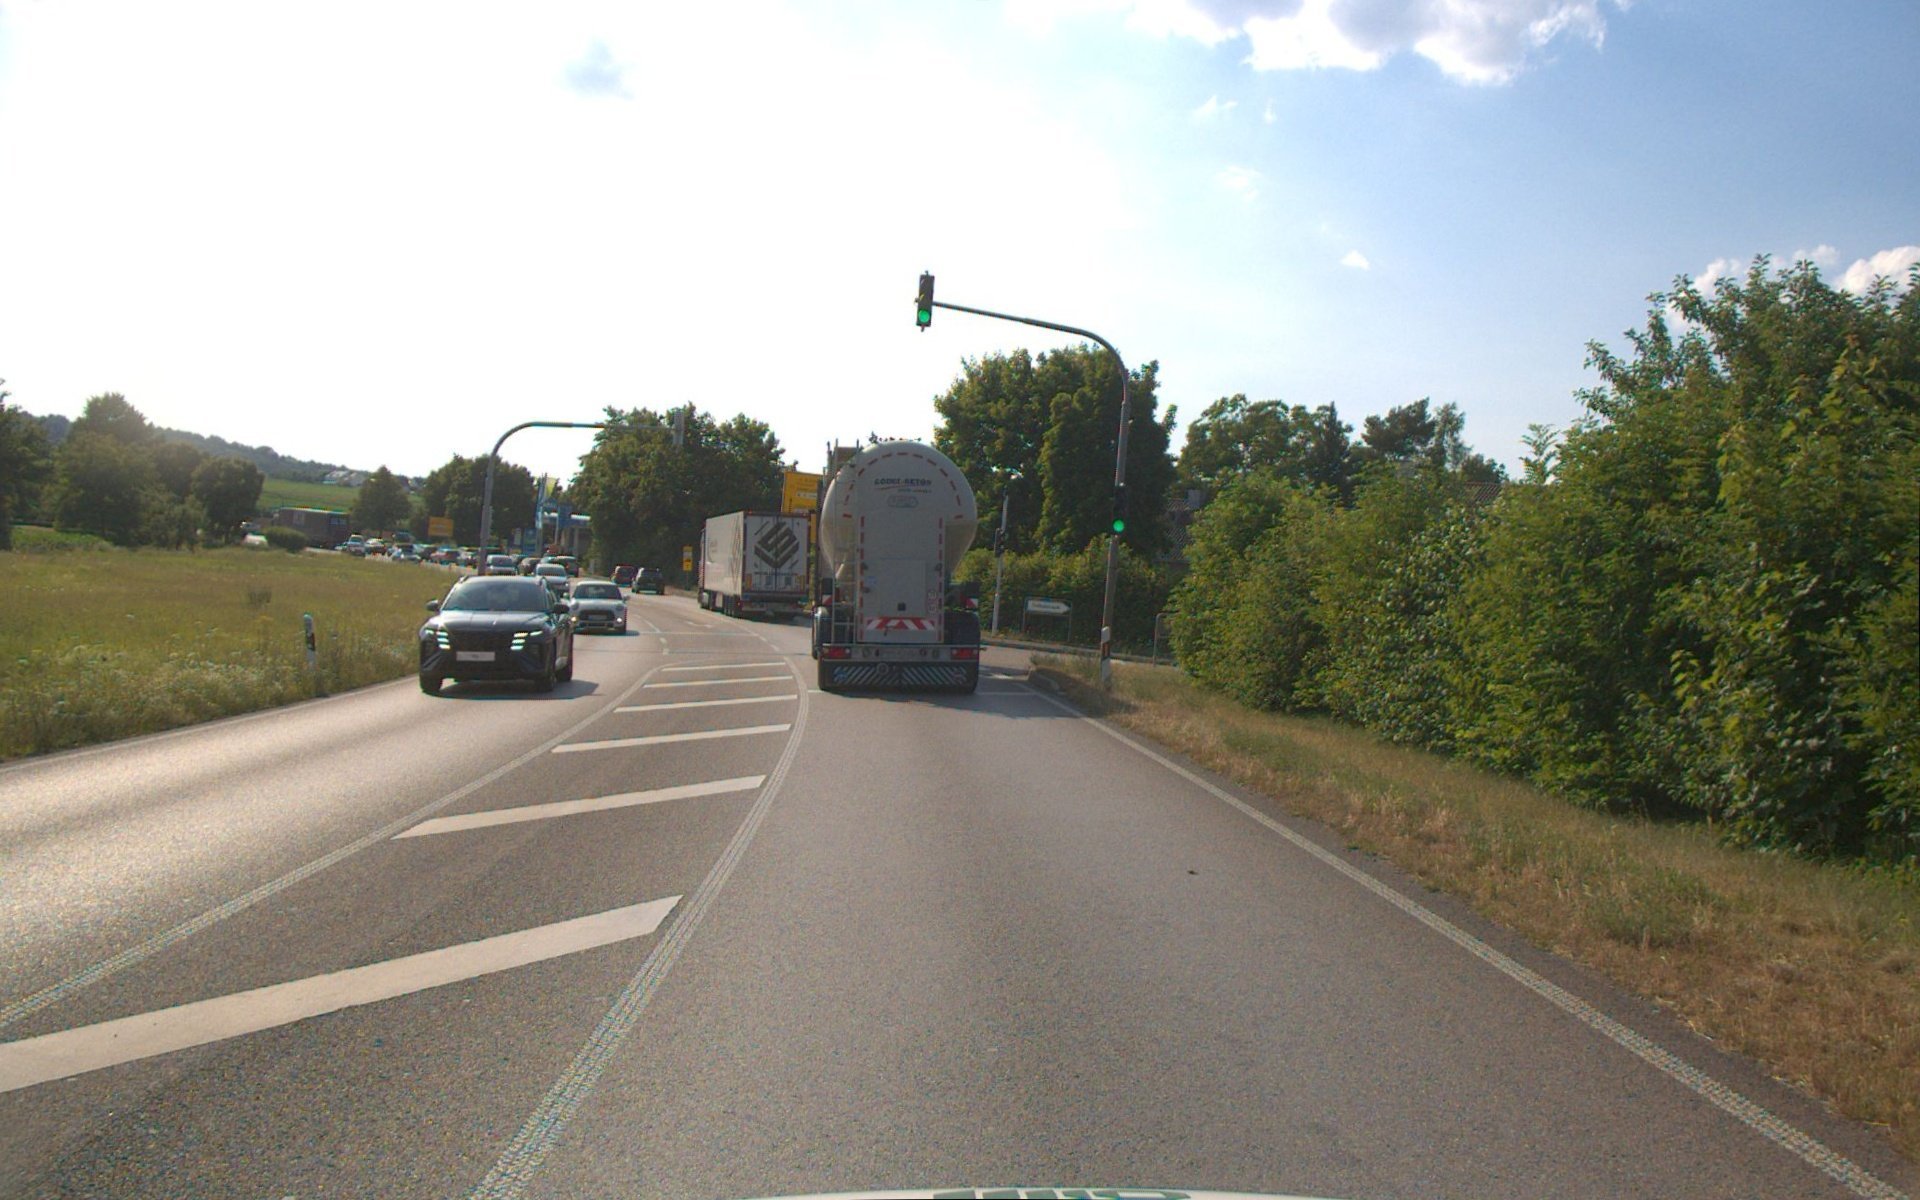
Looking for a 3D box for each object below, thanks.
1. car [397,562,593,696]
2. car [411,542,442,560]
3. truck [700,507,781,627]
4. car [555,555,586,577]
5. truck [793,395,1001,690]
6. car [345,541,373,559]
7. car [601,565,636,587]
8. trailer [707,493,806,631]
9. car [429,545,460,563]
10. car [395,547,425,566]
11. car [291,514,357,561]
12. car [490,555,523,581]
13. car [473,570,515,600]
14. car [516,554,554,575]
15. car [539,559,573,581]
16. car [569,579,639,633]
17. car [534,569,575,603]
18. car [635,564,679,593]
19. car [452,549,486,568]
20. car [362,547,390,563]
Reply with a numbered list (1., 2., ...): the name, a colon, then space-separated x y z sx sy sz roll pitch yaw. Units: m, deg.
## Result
1. car: -6.810 0.358 24.697 1.955 1.755 4.422 2 1 -5
2. car: -53.486 -4.930 165.736 1.866 1.627 3.951 3 0 -35
3. truck: -9.847 -1.361 73.622 2.911 4.972 6.410 2 -1 -12
4. car: -33.373 -2.873 141.646 1.816 1.685 3.971 3 -1 -23
5. truck: -1.504 -0.768 30.307 2.918 4.248 11.646 2 -1 -6
6. car: -59.497 -4.923 163.725 1.863 1.627 3.959 3 0 -31
7. car: -24.495 -1.697 118.527 1.661 1.493 3.971 3 -1 -23
8. trailer: -8.302 -1.354 66.324 2.912 4.967 10.256 2 -1 -12
9. car: -50.188 -4.500 161.061 1.864 1.627 3.957 3 0 -32
10. car: -49.016 -3.897 147.370 1.860 1.627 3.964 3 0 -28
11. car: -73.983 -7.264 192.227 3.515 5.147 13.069 3 0 -37
12. car: -30.701 -2.147 111.958 1.853 1.627 3.979 3 0 -19
13. car: -27.729 -0.901 98.421 1.857 1.627 3.971 3 0 -24
14. car: -34.953 -2.947 136.066 2.062 1.627 3.963 3 0 -29
15. car: -31.430 -2.341 128.676 1.857 1.627 3.970 3 0 -24
16. car: -10.193 0.159 47.583 1.688 1.461 3.742 1 0 -8
17. car: -21.078 -0.735 85.888 1.852 1.627 3.982 3 0 -17
18. car: -18.913 -1.335 103.098 1.965 1.685 3.975 3 -1 -21
19. car: -46.112 -3.891 155.219 2.064 1.627 3.958 3 0 -31
20. car: -62.963 -4.861 178.260 1.866 1.627 3.951 3 0 -35
